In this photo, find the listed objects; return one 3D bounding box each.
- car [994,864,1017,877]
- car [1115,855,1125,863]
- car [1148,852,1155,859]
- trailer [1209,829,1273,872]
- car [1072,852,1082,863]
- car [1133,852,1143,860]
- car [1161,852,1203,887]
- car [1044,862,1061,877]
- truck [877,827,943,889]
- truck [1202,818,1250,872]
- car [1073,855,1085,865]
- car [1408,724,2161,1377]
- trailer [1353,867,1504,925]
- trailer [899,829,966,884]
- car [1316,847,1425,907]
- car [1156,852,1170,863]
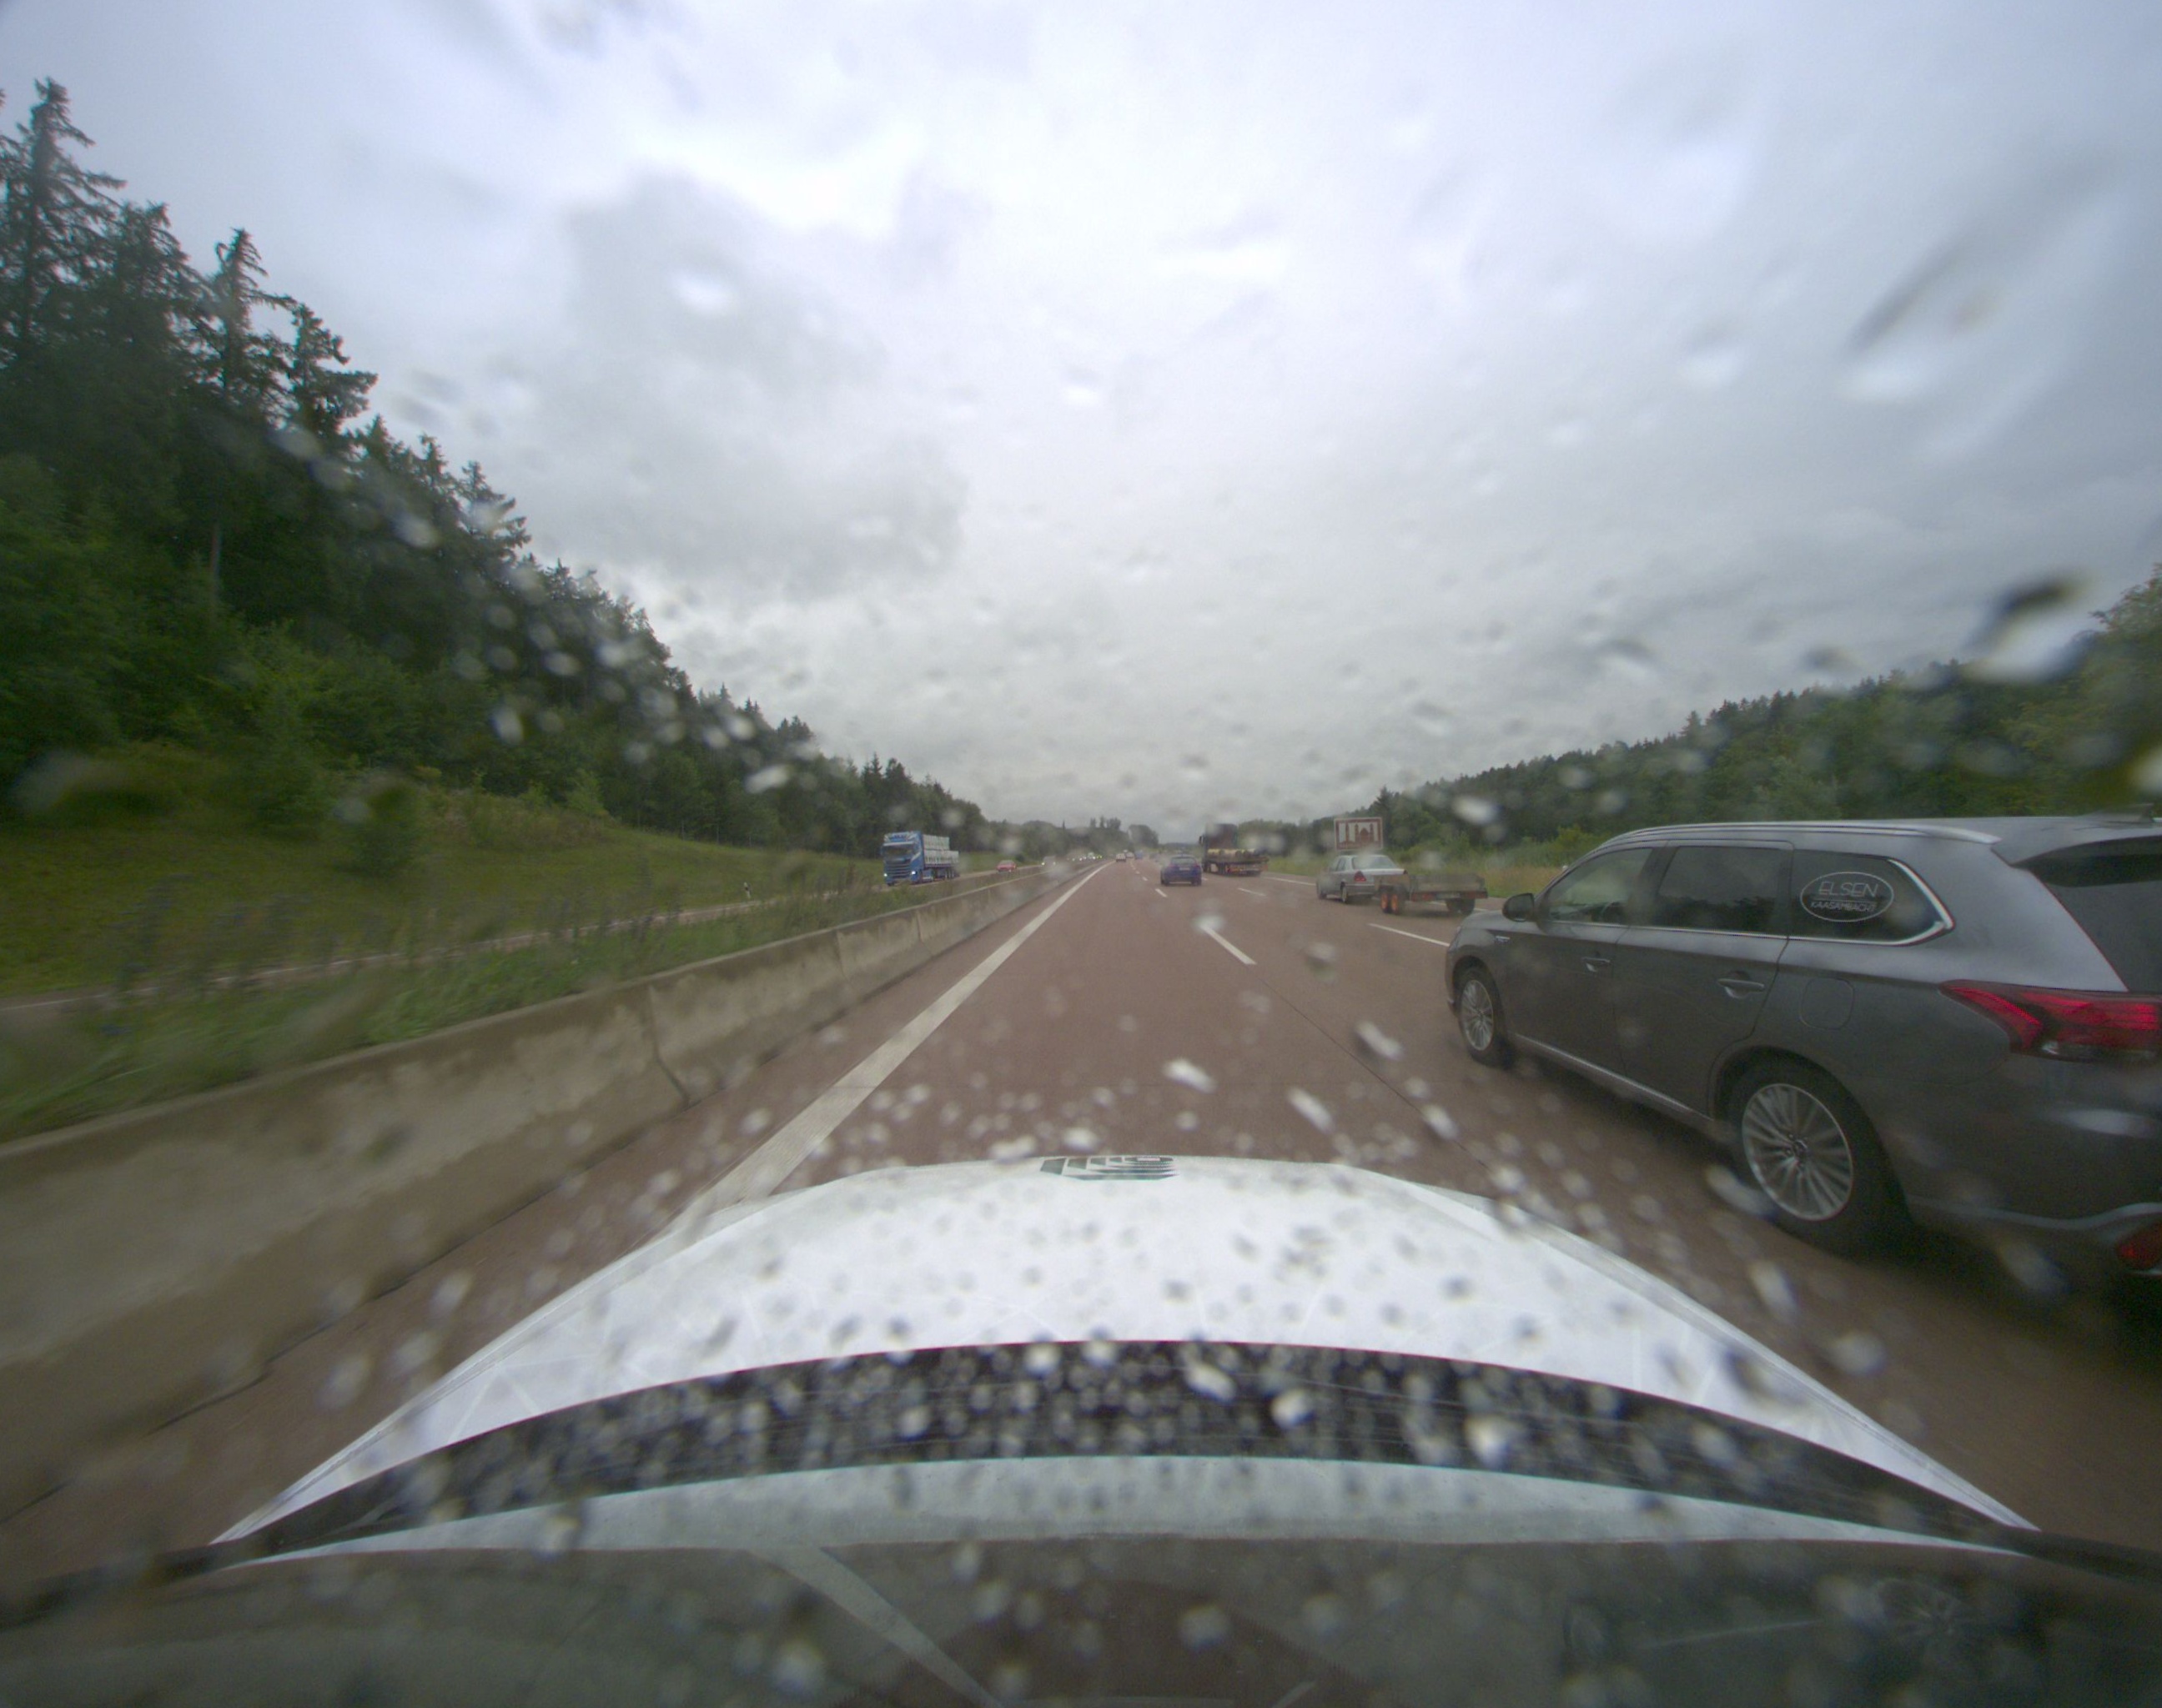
[{"bbox_3d":[-8.195,1.813,88.541,1.812,1.369,5.116,0,-1,2],"label":"car"},{"bbox_3d":[7.329,0.903,153.793,1.867,1.444,4.877,0,-1,1],"label":"car"},{"bbox_3d":[20.004,0.425,230.552,1.985,2.014,4.003,0,-1,3],"label":"car"},{"bbox_3d":[10.807,-0.097,56.181,2.869,2.676,11.407,0,-1,3],"label":"trailer"},{"bbox_3d":[-0.837,0.802,188.543,2.094,2.279,5.398,0,-1,2],"label":"car"},{"bbox_3d":[14.422,0.545,206.374,2.312,1.750,4.881,0,-1,3],"label":"car"},{"bbox_3d":[4.867,0.757,39.613,1.764,1.564,4.150,0,-1,3],"label":"car"},{"bbox_3d":[-3.632,1.932,104.312,1.812,1.842,6.240,0,-1,2],"label":"car"},{"bbox_3d":[-13.239,0.238,63.815,2.953,4.319,7.652,-5,1,2],"label":"truck"},{"bbox_3d":[11.250,-0.586,63.736,2.885,3.965,6.993,0,-1,3],"label":"truck"},{"bbox_3d":[-0.373,1.141,159.070,1.768,1.856,5.328,0,-1,5],"label":"car"},{"bbox_3d":[3.716,0.516,4.112,1.986,1.593,5.823,0,-1,2],"label":"car"},{"bbox_3d":[8.331,0.955,20.037,1.963,1.166,4.643,0,0,3],"label":"trailer"},{"bbox_3d":[-12.960,0.147,72.661,2.922,4.275,12.950,-5,0,2],"label":"trailer"},{"bbox_3d":[8.654,0.680,24.813,1.691,1.611,4.979,-1,-1,2],"label":"car"},{"bbox_3d":[14.610,0.659,144.879,2.312,1.750,4.881,0,-1,3],"label":"car"}]
